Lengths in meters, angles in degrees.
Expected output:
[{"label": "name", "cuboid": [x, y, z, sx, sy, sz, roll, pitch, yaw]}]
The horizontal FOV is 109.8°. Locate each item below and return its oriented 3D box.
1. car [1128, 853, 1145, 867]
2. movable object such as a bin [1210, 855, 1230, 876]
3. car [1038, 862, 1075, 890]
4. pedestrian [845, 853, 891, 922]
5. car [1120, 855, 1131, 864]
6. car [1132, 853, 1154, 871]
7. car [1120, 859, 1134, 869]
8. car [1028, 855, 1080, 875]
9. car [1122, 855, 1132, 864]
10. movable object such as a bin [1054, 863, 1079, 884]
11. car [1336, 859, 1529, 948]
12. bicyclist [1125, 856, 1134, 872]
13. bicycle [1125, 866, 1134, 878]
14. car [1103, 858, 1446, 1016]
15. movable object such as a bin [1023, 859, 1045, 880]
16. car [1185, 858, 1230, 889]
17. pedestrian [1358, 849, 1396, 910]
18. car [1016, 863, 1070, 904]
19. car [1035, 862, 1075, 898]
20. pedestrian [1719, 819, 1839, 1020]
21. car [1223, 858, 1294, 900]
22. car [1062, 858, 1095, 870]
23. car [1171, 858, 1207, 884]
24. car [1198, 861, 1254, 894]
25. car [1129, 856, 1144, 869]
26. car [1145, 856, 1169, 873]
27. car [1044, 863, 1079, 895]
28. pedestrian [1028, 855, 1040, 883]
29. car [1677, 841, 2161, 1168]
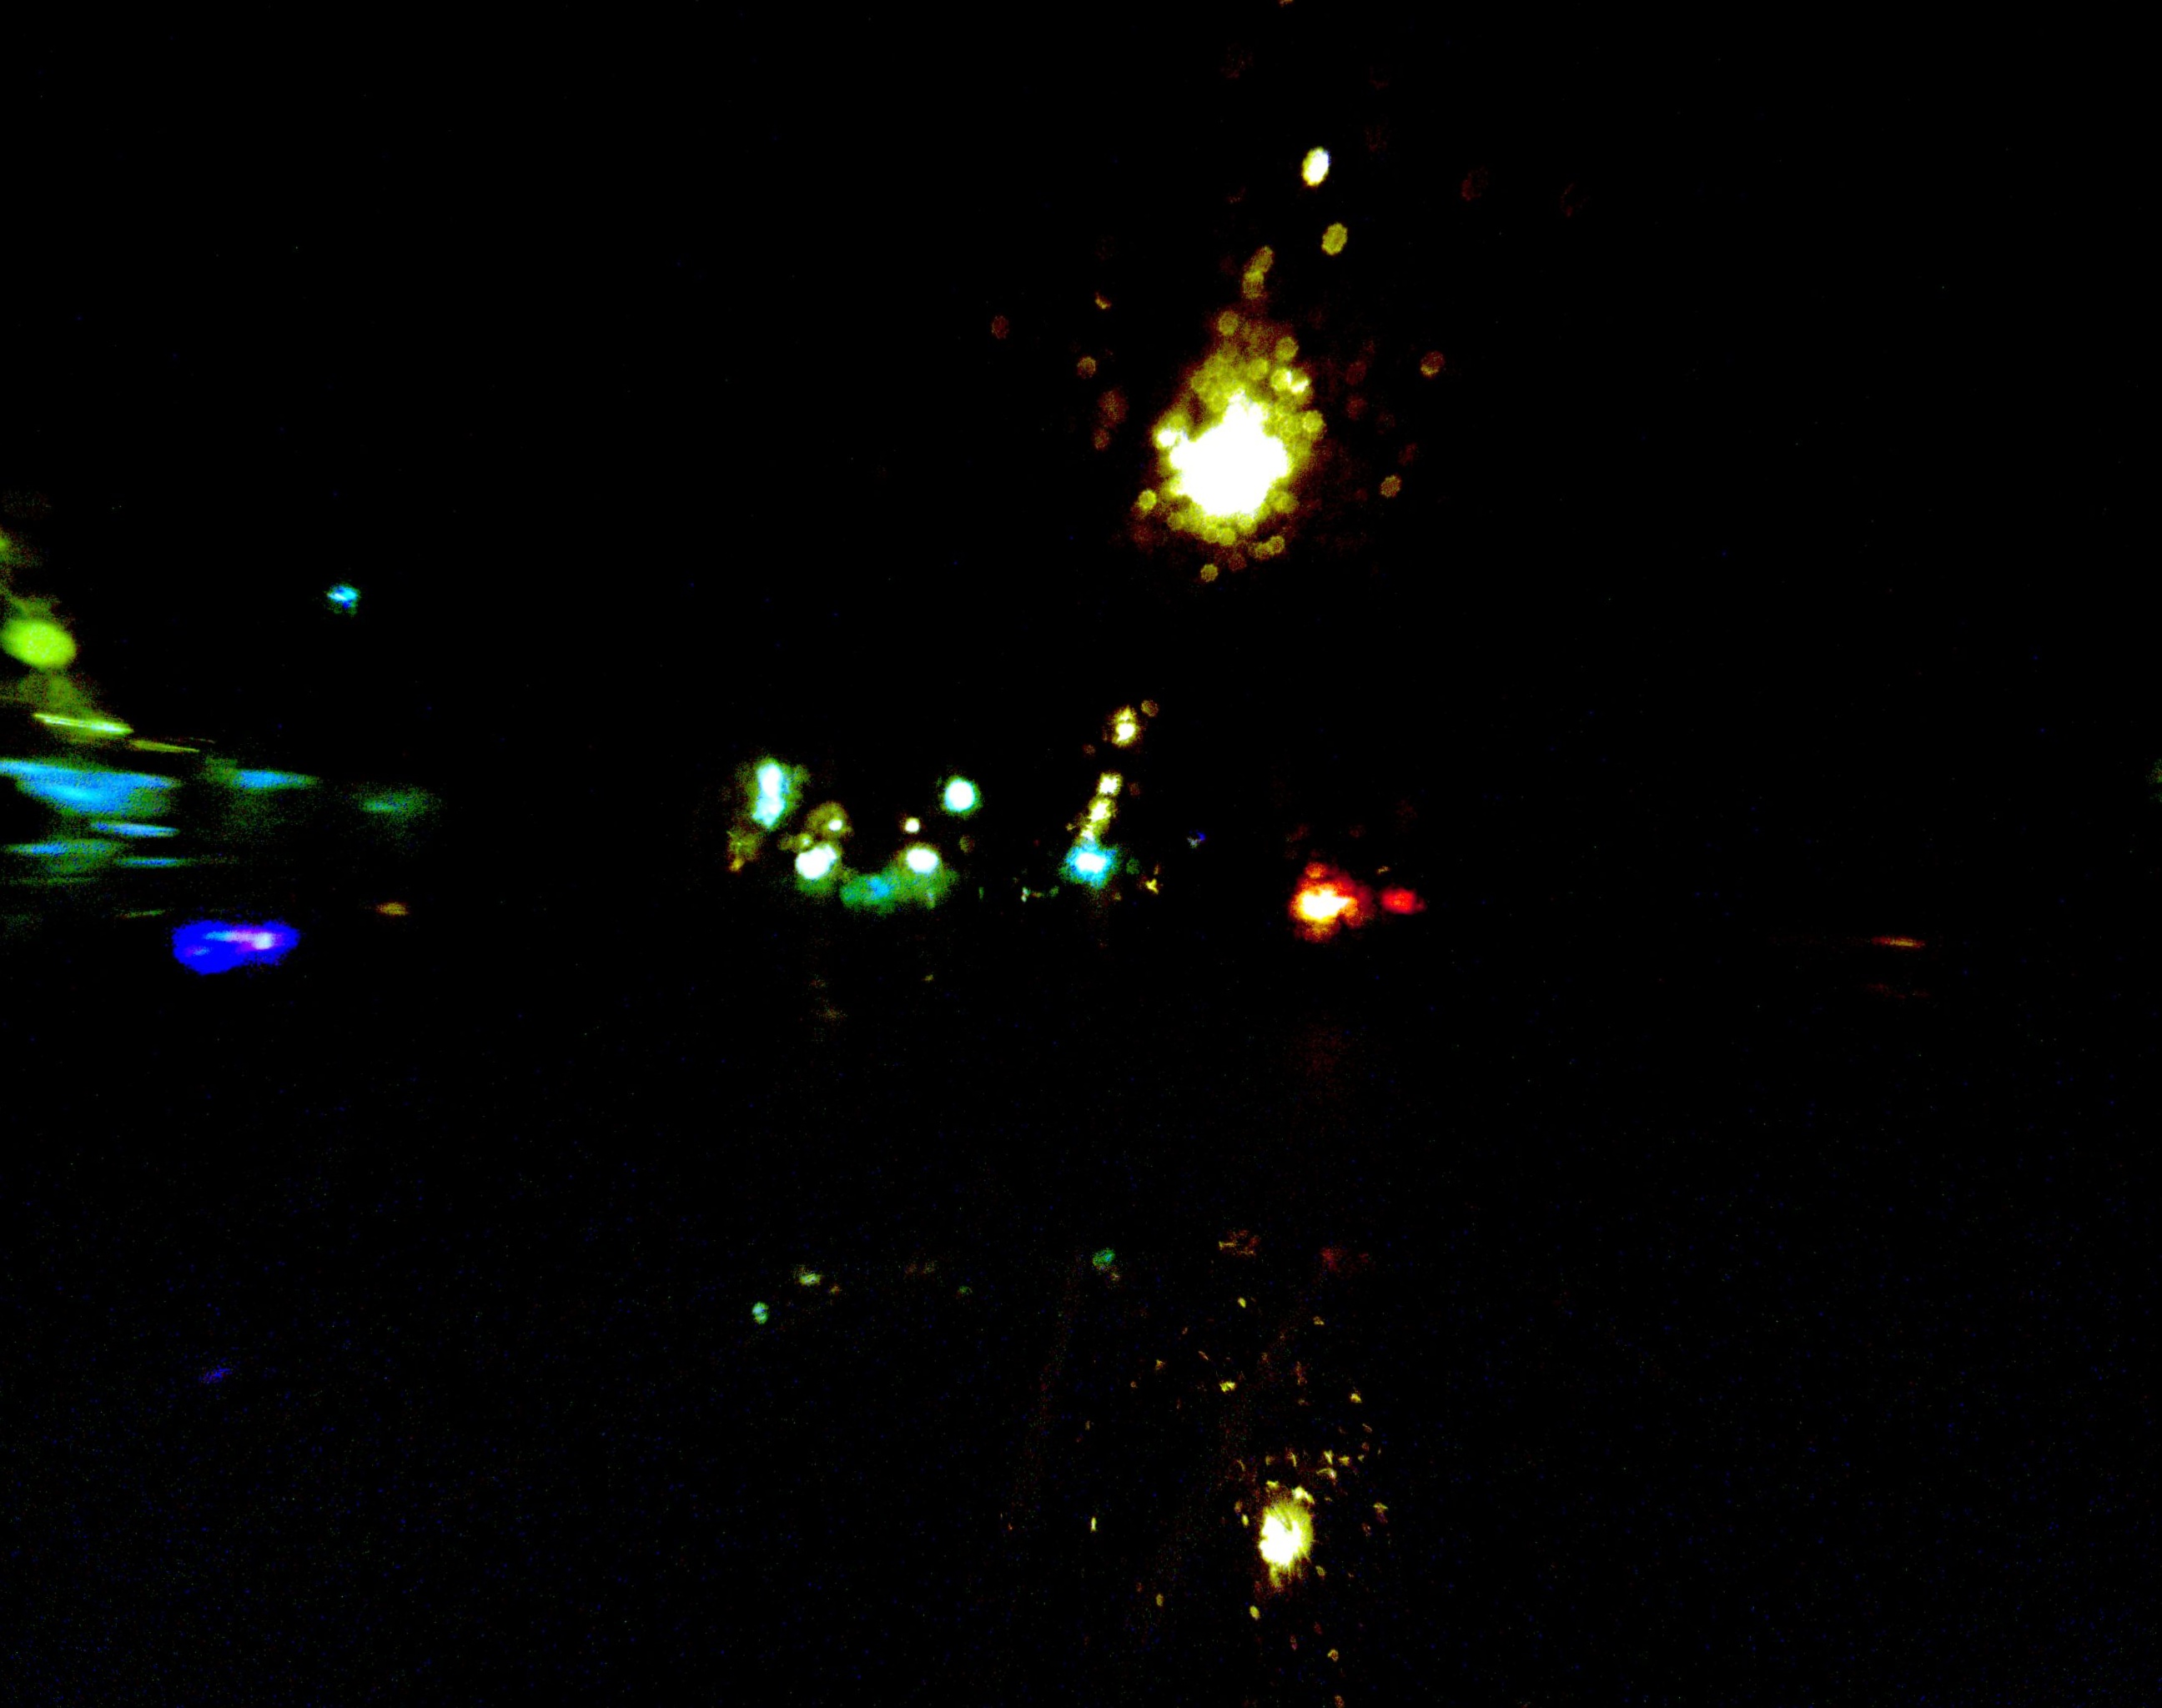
[{"label": "car", "cuboid": [7.180, 0.761, 97.976, 1.907, 1.818, 4.829, -1, 0, 1]}, {"label": "movable object such as a bin", "cuboid": [9.978, 0.831, 54.605, 1.104, 1.445, 1.378, 0, 0, -2]}, {"label": "car", "cuboid": [-1.396, 1.269, 45.266, 1.998, 1.455, 4.416, -1, 0, 0]}, {"label": "pedestrian", "cuboid": [-5.706, 0.890, 20.412, 0.864, 1.777, 1.083, 1, -1, 4]}, {"label": "car", "cuboid": [7.542, 0.900, 127.878, 1.696, 1.470, 3.385, -1, -1, 4]}, {"label": "car", "cuboid": [6.714, 0.858, 82.698, 2.001, 1.818, 5.207, -1, 0, 1]}, {"label": "car", "cuboid": [6.618, 1.489, 109.733, 1.731, 1.384, 4.555, -1, 0, 1]}, {"label": "car", "cuboid": [-2.421, 0.967, 68.001, 4.524, 1.522, 1.780, 2, 0, 0]}, {"label": "car", "cuboid": [7.366, 0.908, 121.697, 1.531, 1.445, 3.384, -1, 0, 1]}, {"label": "movable object such as a bin", "cuboid": [-1.067, 1.392, 54.809, 1.344, 1.421, 1.198, -1, 1, -36]}, {"label": "car", "cuboid": [6.908, 0.877, 15.563, 1.837, 1.477, 4.594, -1, 0, 0]}, {"label": "bicyclist", "cuboid": [4.659, 0.933, 73.028, 0.720, 1.547, 0.895, 0, 1, 0]}, {"label": "bicycle", "cuboid": [4.698, 1.716, 73.118, 0.729, 1.066, 2.348, 0, 0, 0]}, {"label": "car", "cuboid": [2.281, 0.884, 10.341, 1.930, 1.608, 4.564, 1, 0, -28]}, {"label": "movable object such as a bin", "cuboid": [-3.359, 1.111, 54.605, 1.311, 1.421, 1.051, -1, 1, 10]}, {"label": "car", "cuboid": [6.735, 1.000, 40.877, 1.779, 1.563, 4.134, -1, 0, 0]}, {"label": "pedestrian", "cuboid": [9.040, 0.751, 23.203, 0.745, 1.794, 0.986, -3, 1, 4]}, {"label": "car", "cuboid": [-1.393, 1.089, 29.399, 1.922, 1.403, 4.000, -1, 0, 0]}, {"label": "car", "cuboid": [-1.159, 1.159, 34.882, 1.694, 1.489, 3.891, -1, 0, 0]}, {"label": "pedestrian", "cuboid": [7.294, 0.646, 7.951, 0.659, 1.962, 0.768, -4, 1, -37]}, {"label": "car", "cuboid": [6.910, 0.944, 30.026, 1.837, 1.472, 4.306, -1, 0, 0]}, {"label": "car", "cuboid": [-0.347, 1.264, 98.729, 3.989, 1.368, 1.756, -3, 1, 39]}, {"label": "car", "cuboid": [6.737, 1.044, 47.636, 1.676, 1.482, 3.721, -2, 0, 0]}, {"label": "car", "cuboid": [6.703, 1.059, 35.571, 1.826, 1.381, 4.425, -1, 0, 0]}, {"label": "car", "cuboid": [6.468, 0.928, 88.538, 1.573, 1.451, 3.720, -1, 0, 1]}, {"label": "car", "cuboid": [6.990, 0.948, 70.578, 1.771, 1.474, 4.772, -4, 0, 1]}, {"label": "car", "cuboid": [-1.064, 1.242, 39.421, 1.694, 1.489, 3.890, -1, 0, -3]}, {"label": "pedestrian", "cuboid": [-3.004, 0.970, 48.582, 0.704, 1.777, 0.624, 1, 0, 4]}, {"label": "car", "cuboid": [6.596, 0.780, 4.952, 1.837, 1.707, 4.594, -1, 0, 0]}]
